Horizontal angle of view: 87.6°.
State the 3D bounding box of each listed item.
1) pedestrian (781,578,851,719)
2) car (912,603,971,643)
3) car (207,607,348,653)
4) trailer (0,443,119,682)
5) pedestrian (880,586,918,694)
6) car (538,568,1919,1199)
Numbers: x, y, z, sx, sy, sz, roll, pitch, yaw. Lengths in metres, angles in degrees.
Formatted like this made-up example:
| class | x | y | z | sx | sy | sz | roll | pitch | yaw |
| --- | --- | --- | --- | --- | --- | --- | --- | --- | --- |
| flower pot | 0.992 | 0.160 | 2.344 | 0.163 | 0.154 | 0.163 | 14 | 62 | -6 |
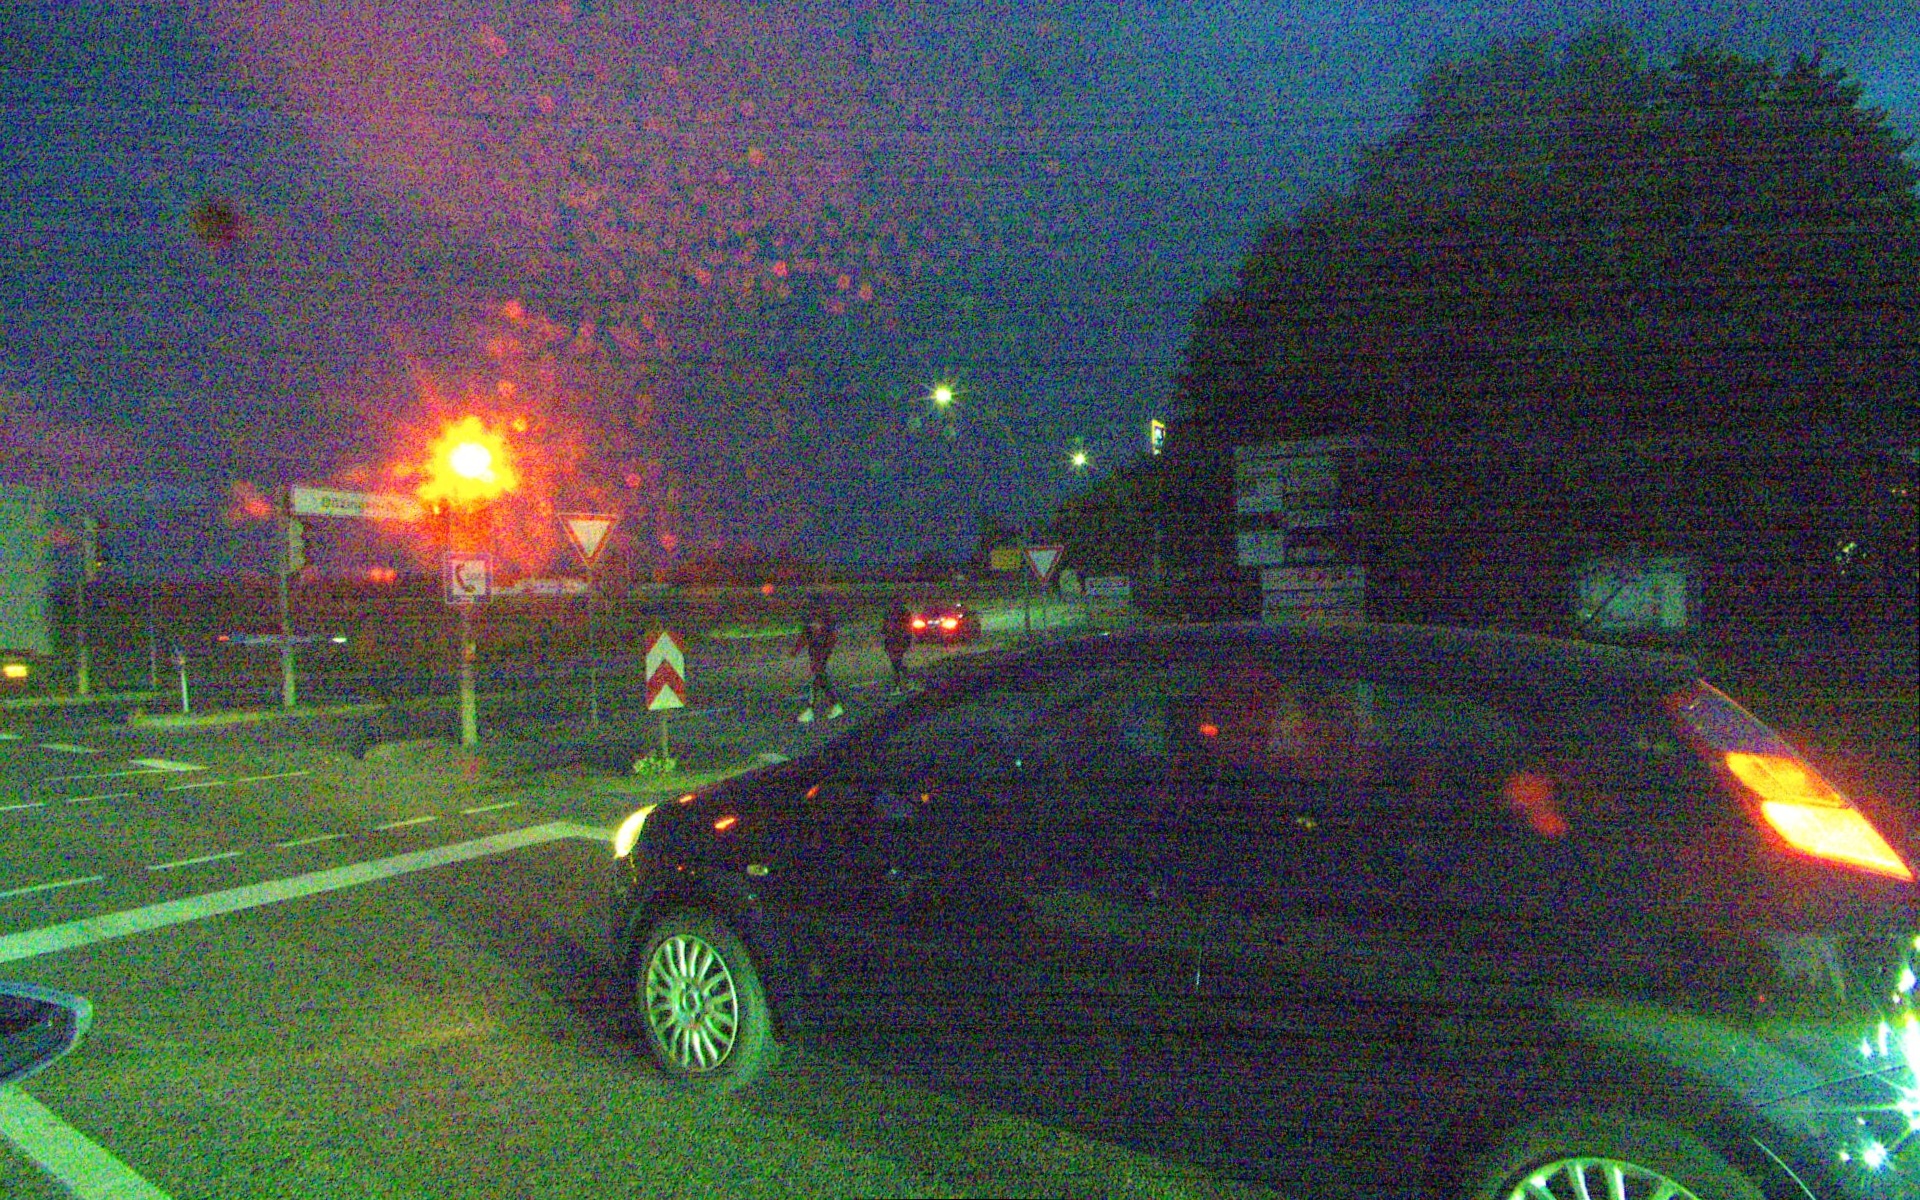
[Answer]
| class | x | y | z | sx | sy | sz | roll | pitch | yaw |
| --- | --- | --- | --- | --- | --- | --- | --- | --- | --- |
| pedestrian | -2.150 | 0.718 | 14.996 | 0.704 | 2.039 | 0.776 | -1 | -1 | 33 |
| car | -0.661 | 0.860 | 38.664 | 1.774 | 1.461 | 3.999 | 0 | -1 | 7 |
| car | -27.603 | 1.184 | 40.708 | 4.406 | 1.686 | 1.992 | -1 | 1 | -25 |
| trailer | -18.323 | -0.572 | 14.711 | 2.542 | 3.996 | 8.849 | -1 | 1 | 23 |
| pedestrian | -1.187 | 0.766 | 19.344 | 0.700 | 2.039 | 0.781 | 0 | -1 | -6 |
| car | 0.475 | 0.746 | 3.248 | 3.662 | 1.557 | 1.655 | 0 | -1 | 33 |
